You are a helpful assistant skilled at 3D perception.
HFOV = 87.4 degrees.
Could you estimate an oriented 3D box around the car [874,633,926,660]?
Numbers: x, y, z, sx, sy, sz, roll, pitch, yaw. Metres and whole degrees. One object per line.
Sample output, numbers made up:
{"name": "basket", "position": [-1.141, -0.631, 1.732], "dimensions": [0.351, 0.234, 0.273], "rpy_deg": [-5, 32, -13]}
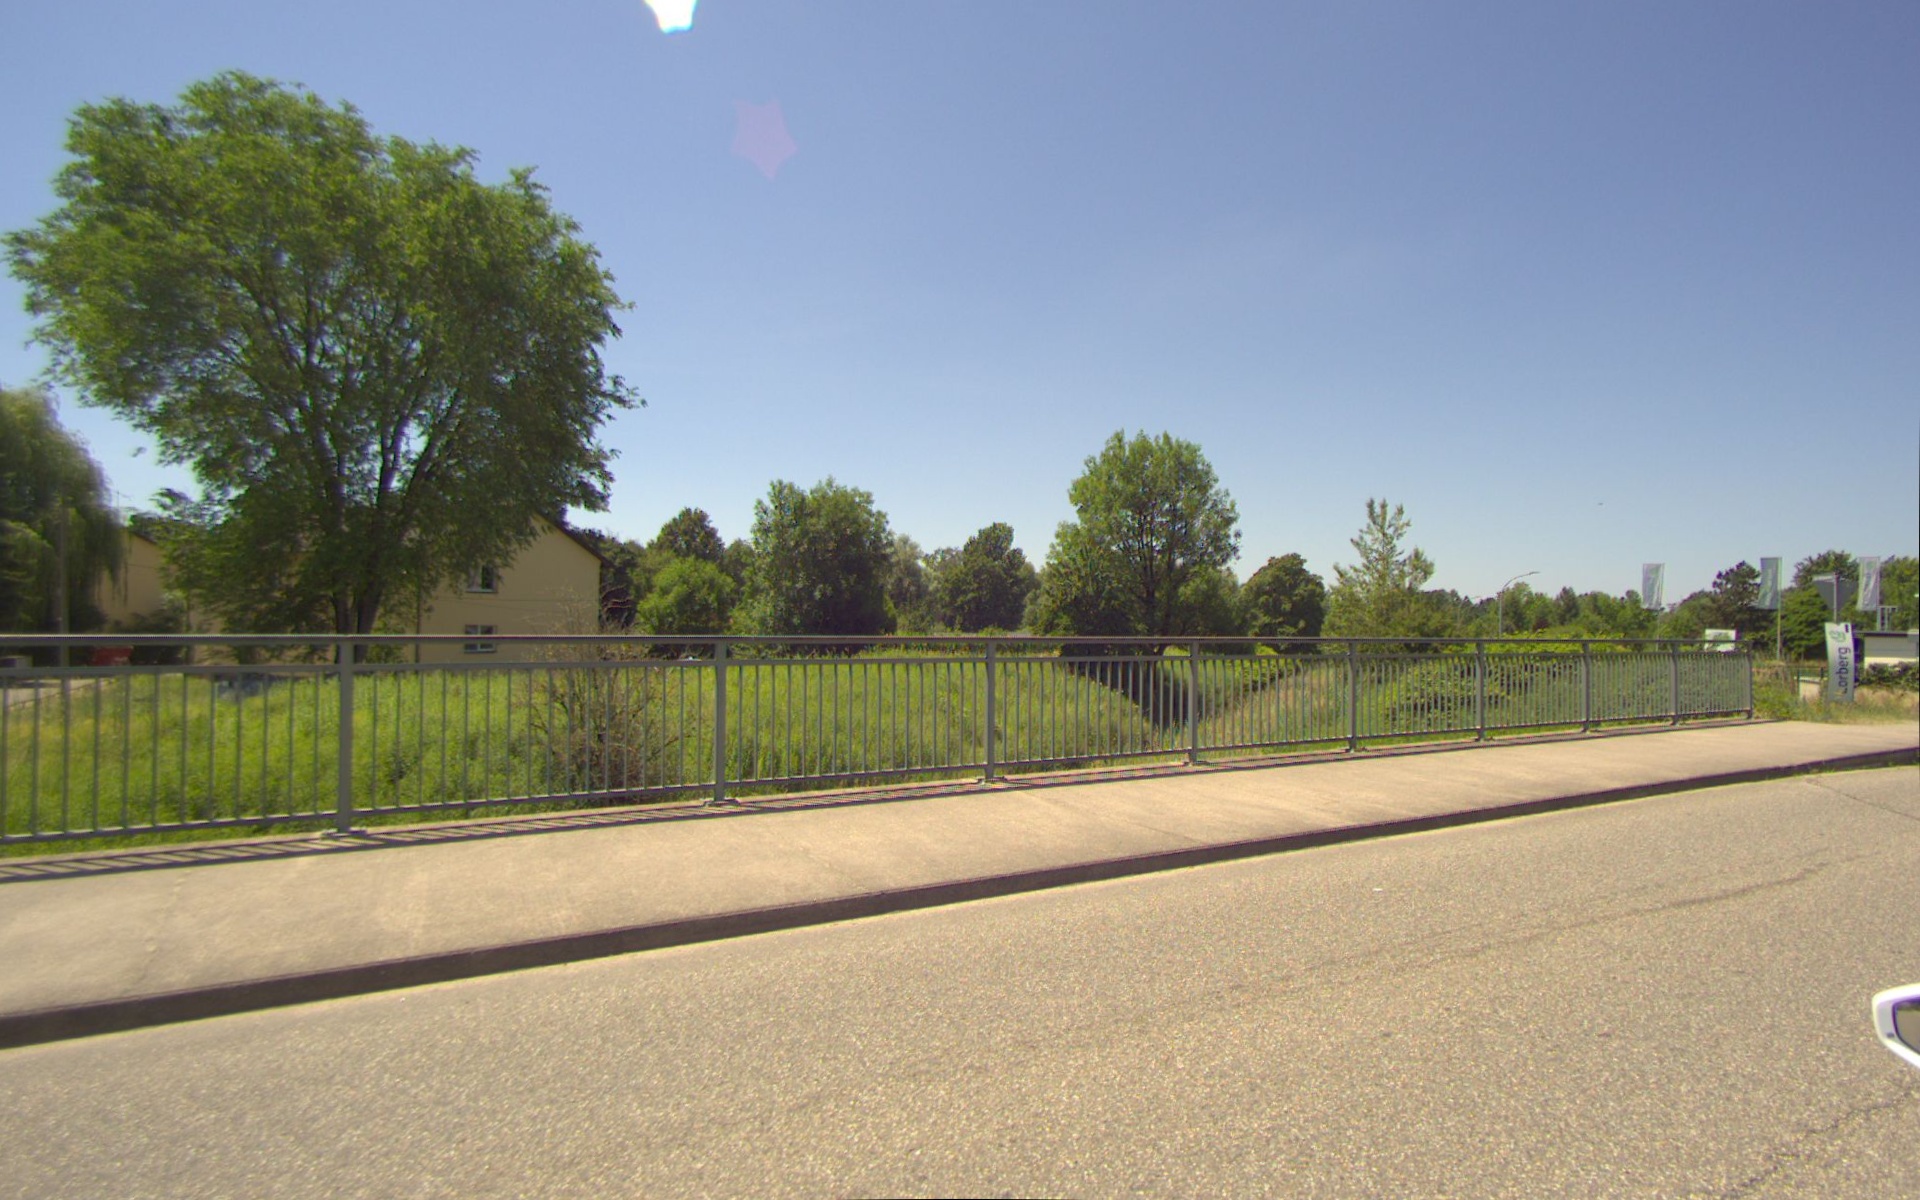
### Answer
{"name": "car", "position": [-3.696, 2.889, 62.754], "dimensions": [1.960, 1.617, 4.002], "rpy_deg": [-1, -2, 17]}

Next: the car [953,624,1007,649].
{"name": "car", "position": [1.669, 3.004, 82.595], "dimensions": [3.923, 2.026, 2.267], "rpy_deg": [-1, -2, 22]}

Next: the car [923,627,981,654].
{"name": "car", "position": [-0.578, 3.104, 77.688], "dimensions": [3.923, 2.026, 2.267], "rpy_deg": [-1, -2, 22]}

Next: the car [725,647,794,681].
{"name": "car", "position": [-10.940, 3.460, 54.991], "dimensions": [1.840, 1.774, 4.000], "rpy_deg": [-1, -3, 21]}
